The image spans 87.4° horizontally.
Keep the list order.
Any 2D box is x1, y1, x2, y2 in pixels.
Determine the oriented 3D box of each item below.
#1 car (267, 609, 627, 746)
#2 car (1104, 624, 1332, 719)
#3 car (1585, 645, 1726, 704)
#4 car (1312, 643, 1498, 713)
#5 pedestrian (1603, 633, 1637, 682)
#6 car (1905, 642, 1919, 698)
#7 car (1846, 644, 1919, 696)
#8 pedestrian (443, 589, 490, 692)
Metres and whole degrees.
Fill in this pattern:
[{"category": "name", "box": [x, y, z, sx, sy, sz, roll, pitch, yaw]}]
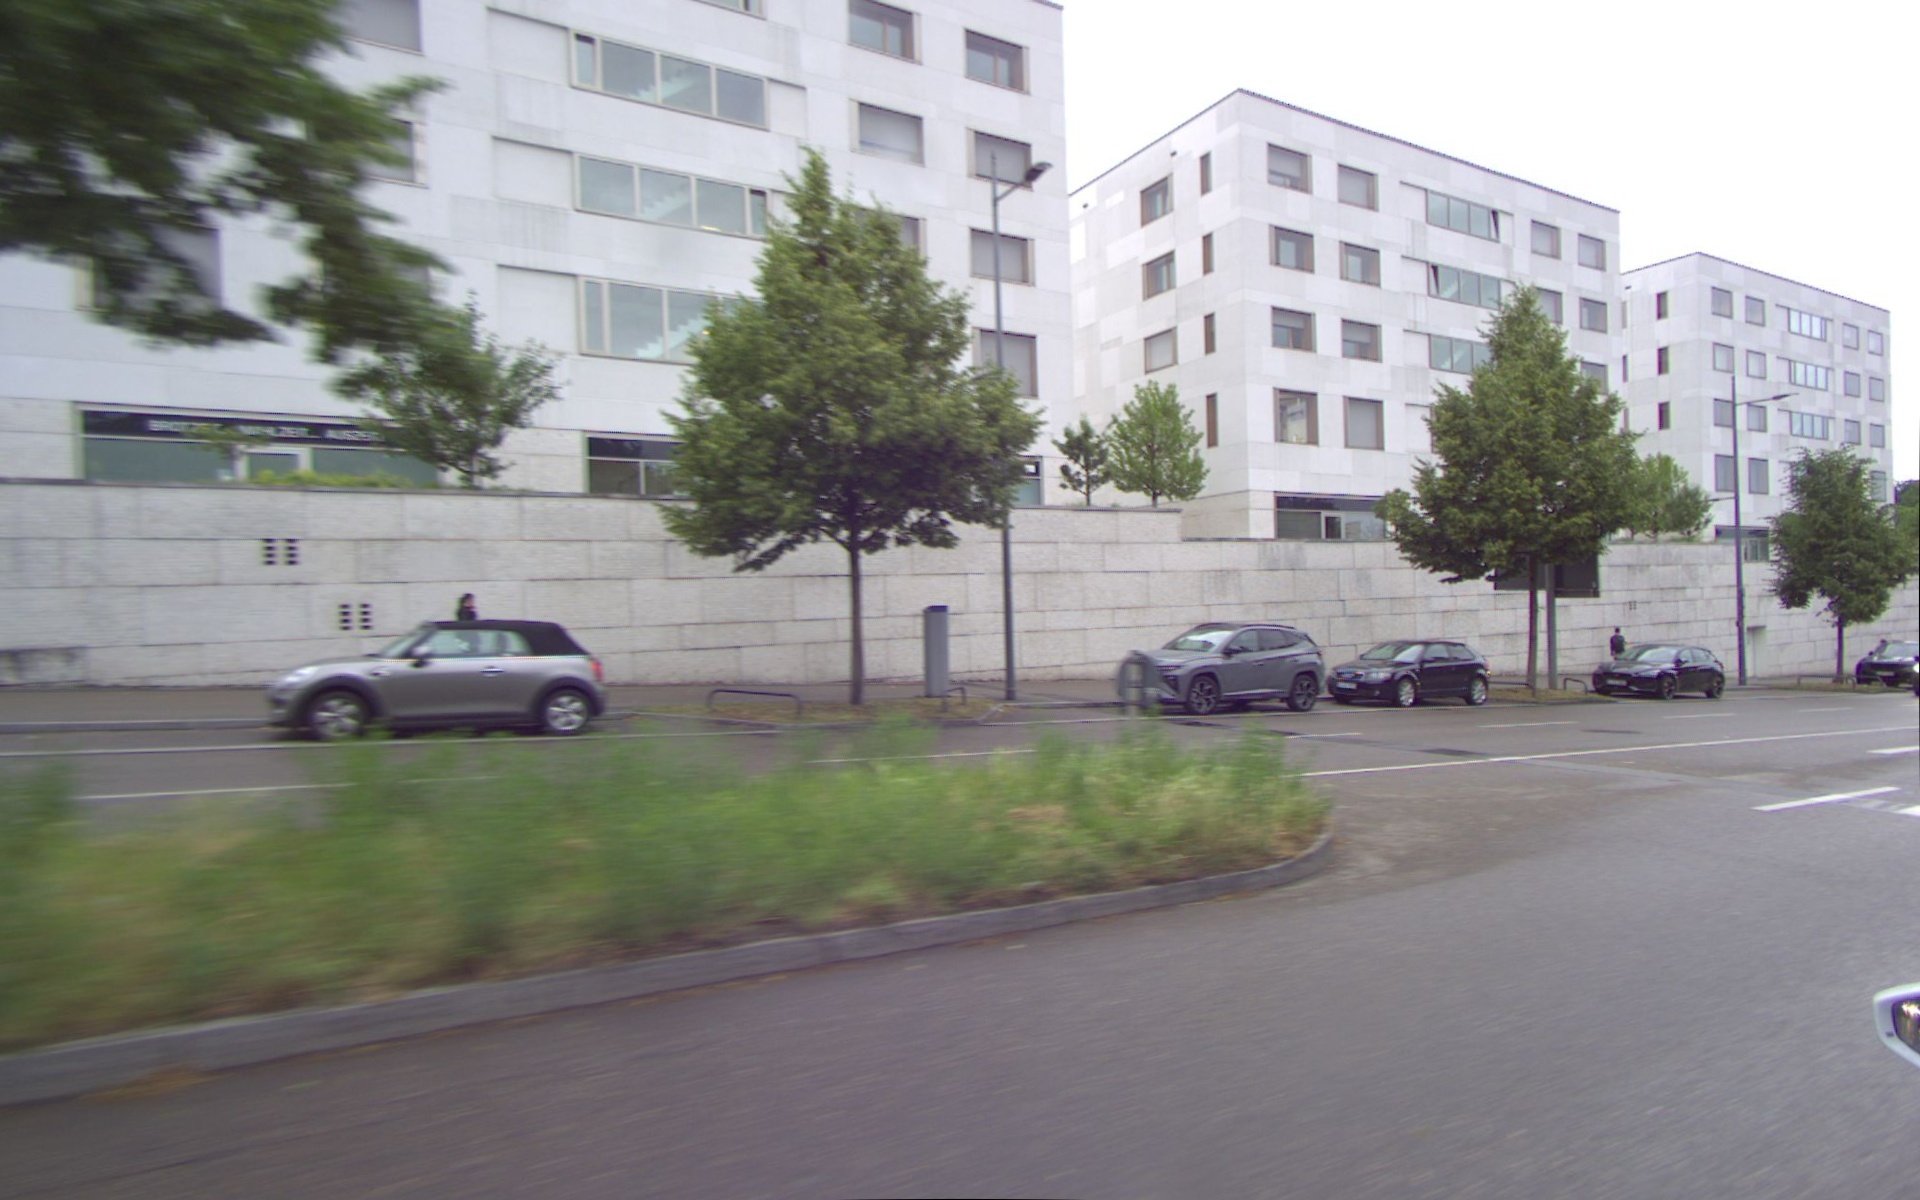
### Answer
[{"category": "car", "box": [-6.386, 0.927, 12.790, 3.813, 1.463, 1.687, 2, 0, -29]}, {"category": "car", "box": [5.041, 1.371, 19.456, 4.311, 1.641, 1.695, 3, -2, -30]}, {"category": "car", "box": [19.249, 2.053, 27.776, 3.918, 1.445, 1.671, 3, -1, -30]}, {"category": "car", "box": [9.970, 1.719, 22.440, 4.113, 1.378, 1.687, 2, -1, -29]}, {"category": "pedestrian", "box": [24.940, 2.180, 37.954, 1.009, 1.798, 0.704, 2, -1, -30]}, {"category": "car", "box": [32.473, 2.290, 32.503, 4.289, 1.769, 1.701, 2, -1, -31]}, {"category": "car", "box": [35.011, 2.588, 37.418, 4.546, 1.804, 1.847, 3, -2, -32]}, {"category": "pedestrian", "box": [-8.905, 0.717, 18.135, 0.683, 1.798, 0.715, 1, 0, -30]}]
